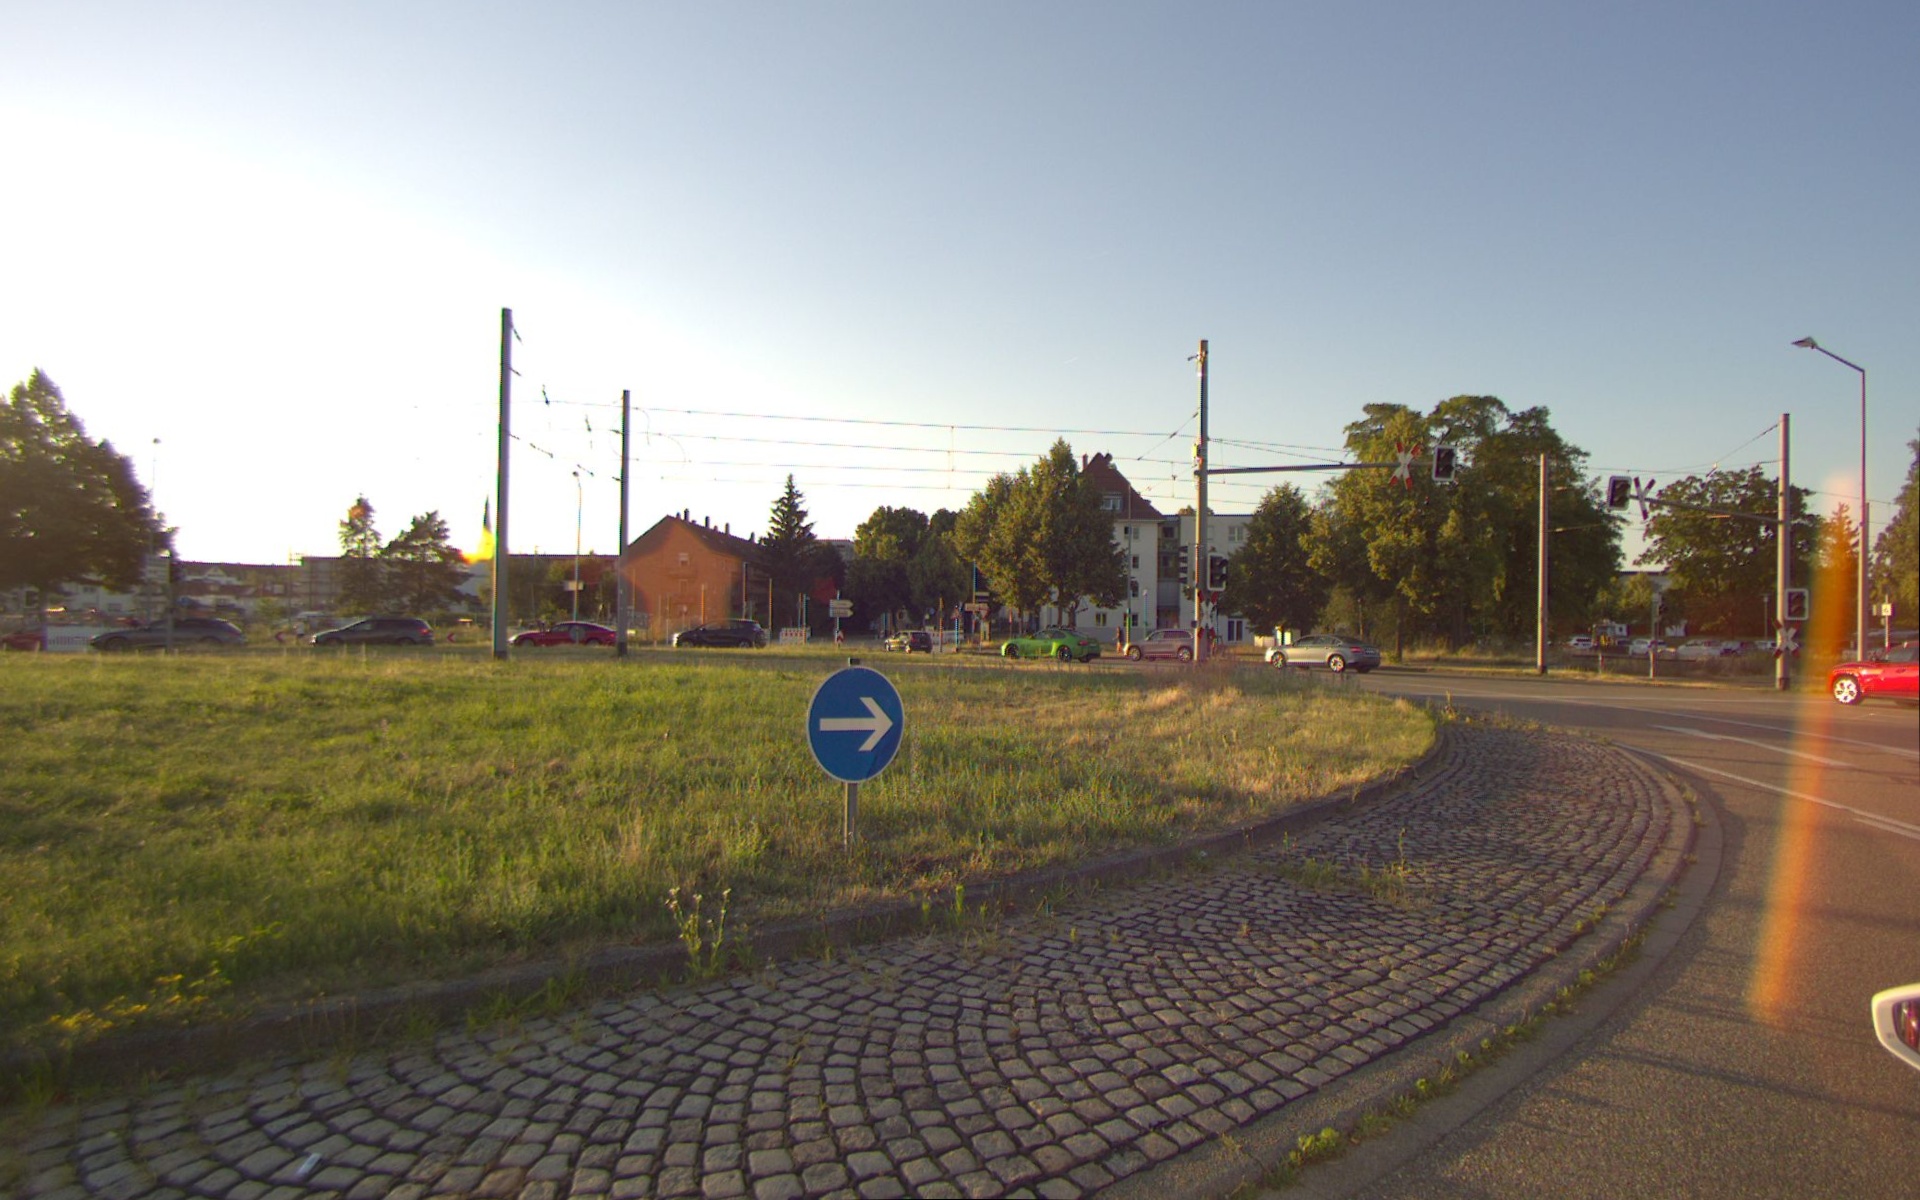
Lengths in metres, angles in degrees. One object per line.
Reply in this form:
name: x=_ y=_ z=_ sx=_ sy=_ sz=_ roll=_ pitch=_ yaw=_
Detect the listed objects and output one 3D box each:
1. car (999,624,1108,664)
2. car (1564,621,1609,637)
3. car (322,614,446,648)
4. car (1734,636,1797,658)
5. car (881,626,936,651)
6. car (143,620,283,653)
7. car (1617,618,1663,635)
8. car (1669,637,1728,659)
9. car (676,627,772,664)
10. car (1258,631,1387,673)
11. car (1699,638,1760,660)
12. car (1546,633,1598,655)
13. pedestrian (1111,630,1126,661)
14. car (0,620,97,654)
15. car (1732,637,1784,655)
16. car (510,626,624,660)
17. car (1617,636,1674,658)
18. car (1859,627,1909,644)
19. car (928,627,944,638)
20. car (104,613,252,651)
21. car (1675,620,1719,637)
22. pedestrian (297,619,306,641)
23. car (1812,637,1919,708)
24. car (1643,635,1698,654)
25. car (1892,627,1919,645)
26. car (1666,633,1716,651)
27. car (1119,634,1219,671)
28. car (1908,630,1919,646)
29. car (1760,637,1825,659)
car: x=4.039 y=1.867 z=43.876 sx=4.420 sy=1.600 sz=1.990 roll=0 pitch=-1 yaw=42
car: x=79.579 y=3.668 z=127.610 sx=4.507 sy=2.040 sz=2.000 roll=1 pitch=-1 yaw=0
car: x=-24.309 y=1.318 z=42.565 sx=4.323 sy=1.394 sz=1.989 roll=1 pitch=-1 yaw=-24
car: x=64.011 y=3.727 z=79.918 sx=1.960 sy=1.625 sz=4.002 roll=1 pitch=-1 yaw=3
car: x=-3.270 y=2.433 z=62.966 sx=1.675 sy=1.372 sz=3.968 roll=-6 pitch=0 yaw=-31
car: x=-33.512 y=1.640 z=45.246 sx=4.667 sy=1.389 sz=1.989 roll=1 pitch=-1 yaw=-23
car: x=86.253 y=3.399 z=127.425 sx=4.505 sy=2.040 sz=2.001 roll=1 pitch=-1 yaw=5
car: x=59.511 y=3.861 z=81.026 sx=1.960 sy=1.625 sz=4.002 roll=1 pitch=-1 yaw=3
car: x=-10.746 y=2.049 z=45.917 sx=3.921 sy=1.605 sz=1.896 roll=1 pitch=-1 yaw=1
car: x=14.242 y=2.019 z=39.691 sx=1.866 sy=1.483 sz=4.628 roll=1 pitch=-1 yaw=-33
car: x=61.630 y=3.923 z=80.548 sx=1.960 sy=1.625 sz=4.002 roll=1 pitch=-1 yaw=3
car: x=49.410 y=3.555 z=81.218 sx=1.960 sy=1.625 sz=4.002 roll=1 pitch=-1 yaw=3
pedestrian: x=10.035 y=2.870 z=63.518 sx=0.614 sy=1.918 sz=0.662 roll=2 pitch=0 yaw=-35
car: x=-43.787 y=1.755 z=48.049 sx=3.426 sy=1.519 sz=1.640 roll=1 pitch=-1 yaw=-8
car: x=77.344 y=4.432 z=97.401 sx=3.938 sy=1.684 sz=1.894 roll=0 pitch=-1 yaw=39
car: x=-17.518 y=1.910 z=44.917 sx=4.416 sy=1.410 sz=1.893 roll=1 pitch=-1 yaw=-10
car: x=54.752 y=3.713 z=80.325 sx=1.960 sy=1.625 sz=4.002 roll=1 pitch=-1 yaw=3
car: x=108.031 y=4.145 z=117.432 sx=3.919 sy=1.840 sz=2.001 roll=1 pitch=-1 yaw=5
car: x=-3.547 y=4.829 z=150.073 sx=1.960 sy=1.618 sz=4.002 roll=1 pitch=-1 yaw=5
car: x=-30.672 y=1.258 z=39.564 sx=4.299 sy=1.394 sz=1.985 roll=1 pitch=-1 yaw=-29
car: x=93.204 y=3.607 z=127.016 sx=4.033 sy=2.040 sz=2.001 roll=1 pitch=-1 yaw=4
pedestrian: x=-38.949 y=1.778 z=59.371 sx=0.392 sy=1.325 sz=0.426 roll=1 pitch=-1 yaw=-30
car: x=23.287 y=1.730 z=24.063 sx=1.961 sy=1.594 sz=4.415 roll=1 pitch=-1 yaw=-2
car: x=69.207 y=4.343 z=97.918 sx=3.919 sy=1.684 sz=1.904 roll=1 pitch=-1 yaw=5
car: x=107.450 y=4.045 z=112.580 sx=3.919 sy=2.040 sz=2.001 roll=1 pitch=-1 yaw=11
car: x=73.158 y=4.201 z=100.562 sx=3.934 sy=1.684 sz=1.994 roll=0 pitch=-1 yaw=35
car: x=10.353 y=2.552 z=49.902 sx=4.460 sy=1.659 sz=1.990 roll=0 pitch=-1 yaw=42
car: x=105.582 y=4.128 z=108.703 sx=1.971 sy=1.728 sz=3.979 roll=1 pitch=-1 yaw=-22
car: x=66.364 y=3.800 z=80.157 sx=1.960 sy=1.625 sz=4.002 roll=1 pitch=-1 yaw=3
